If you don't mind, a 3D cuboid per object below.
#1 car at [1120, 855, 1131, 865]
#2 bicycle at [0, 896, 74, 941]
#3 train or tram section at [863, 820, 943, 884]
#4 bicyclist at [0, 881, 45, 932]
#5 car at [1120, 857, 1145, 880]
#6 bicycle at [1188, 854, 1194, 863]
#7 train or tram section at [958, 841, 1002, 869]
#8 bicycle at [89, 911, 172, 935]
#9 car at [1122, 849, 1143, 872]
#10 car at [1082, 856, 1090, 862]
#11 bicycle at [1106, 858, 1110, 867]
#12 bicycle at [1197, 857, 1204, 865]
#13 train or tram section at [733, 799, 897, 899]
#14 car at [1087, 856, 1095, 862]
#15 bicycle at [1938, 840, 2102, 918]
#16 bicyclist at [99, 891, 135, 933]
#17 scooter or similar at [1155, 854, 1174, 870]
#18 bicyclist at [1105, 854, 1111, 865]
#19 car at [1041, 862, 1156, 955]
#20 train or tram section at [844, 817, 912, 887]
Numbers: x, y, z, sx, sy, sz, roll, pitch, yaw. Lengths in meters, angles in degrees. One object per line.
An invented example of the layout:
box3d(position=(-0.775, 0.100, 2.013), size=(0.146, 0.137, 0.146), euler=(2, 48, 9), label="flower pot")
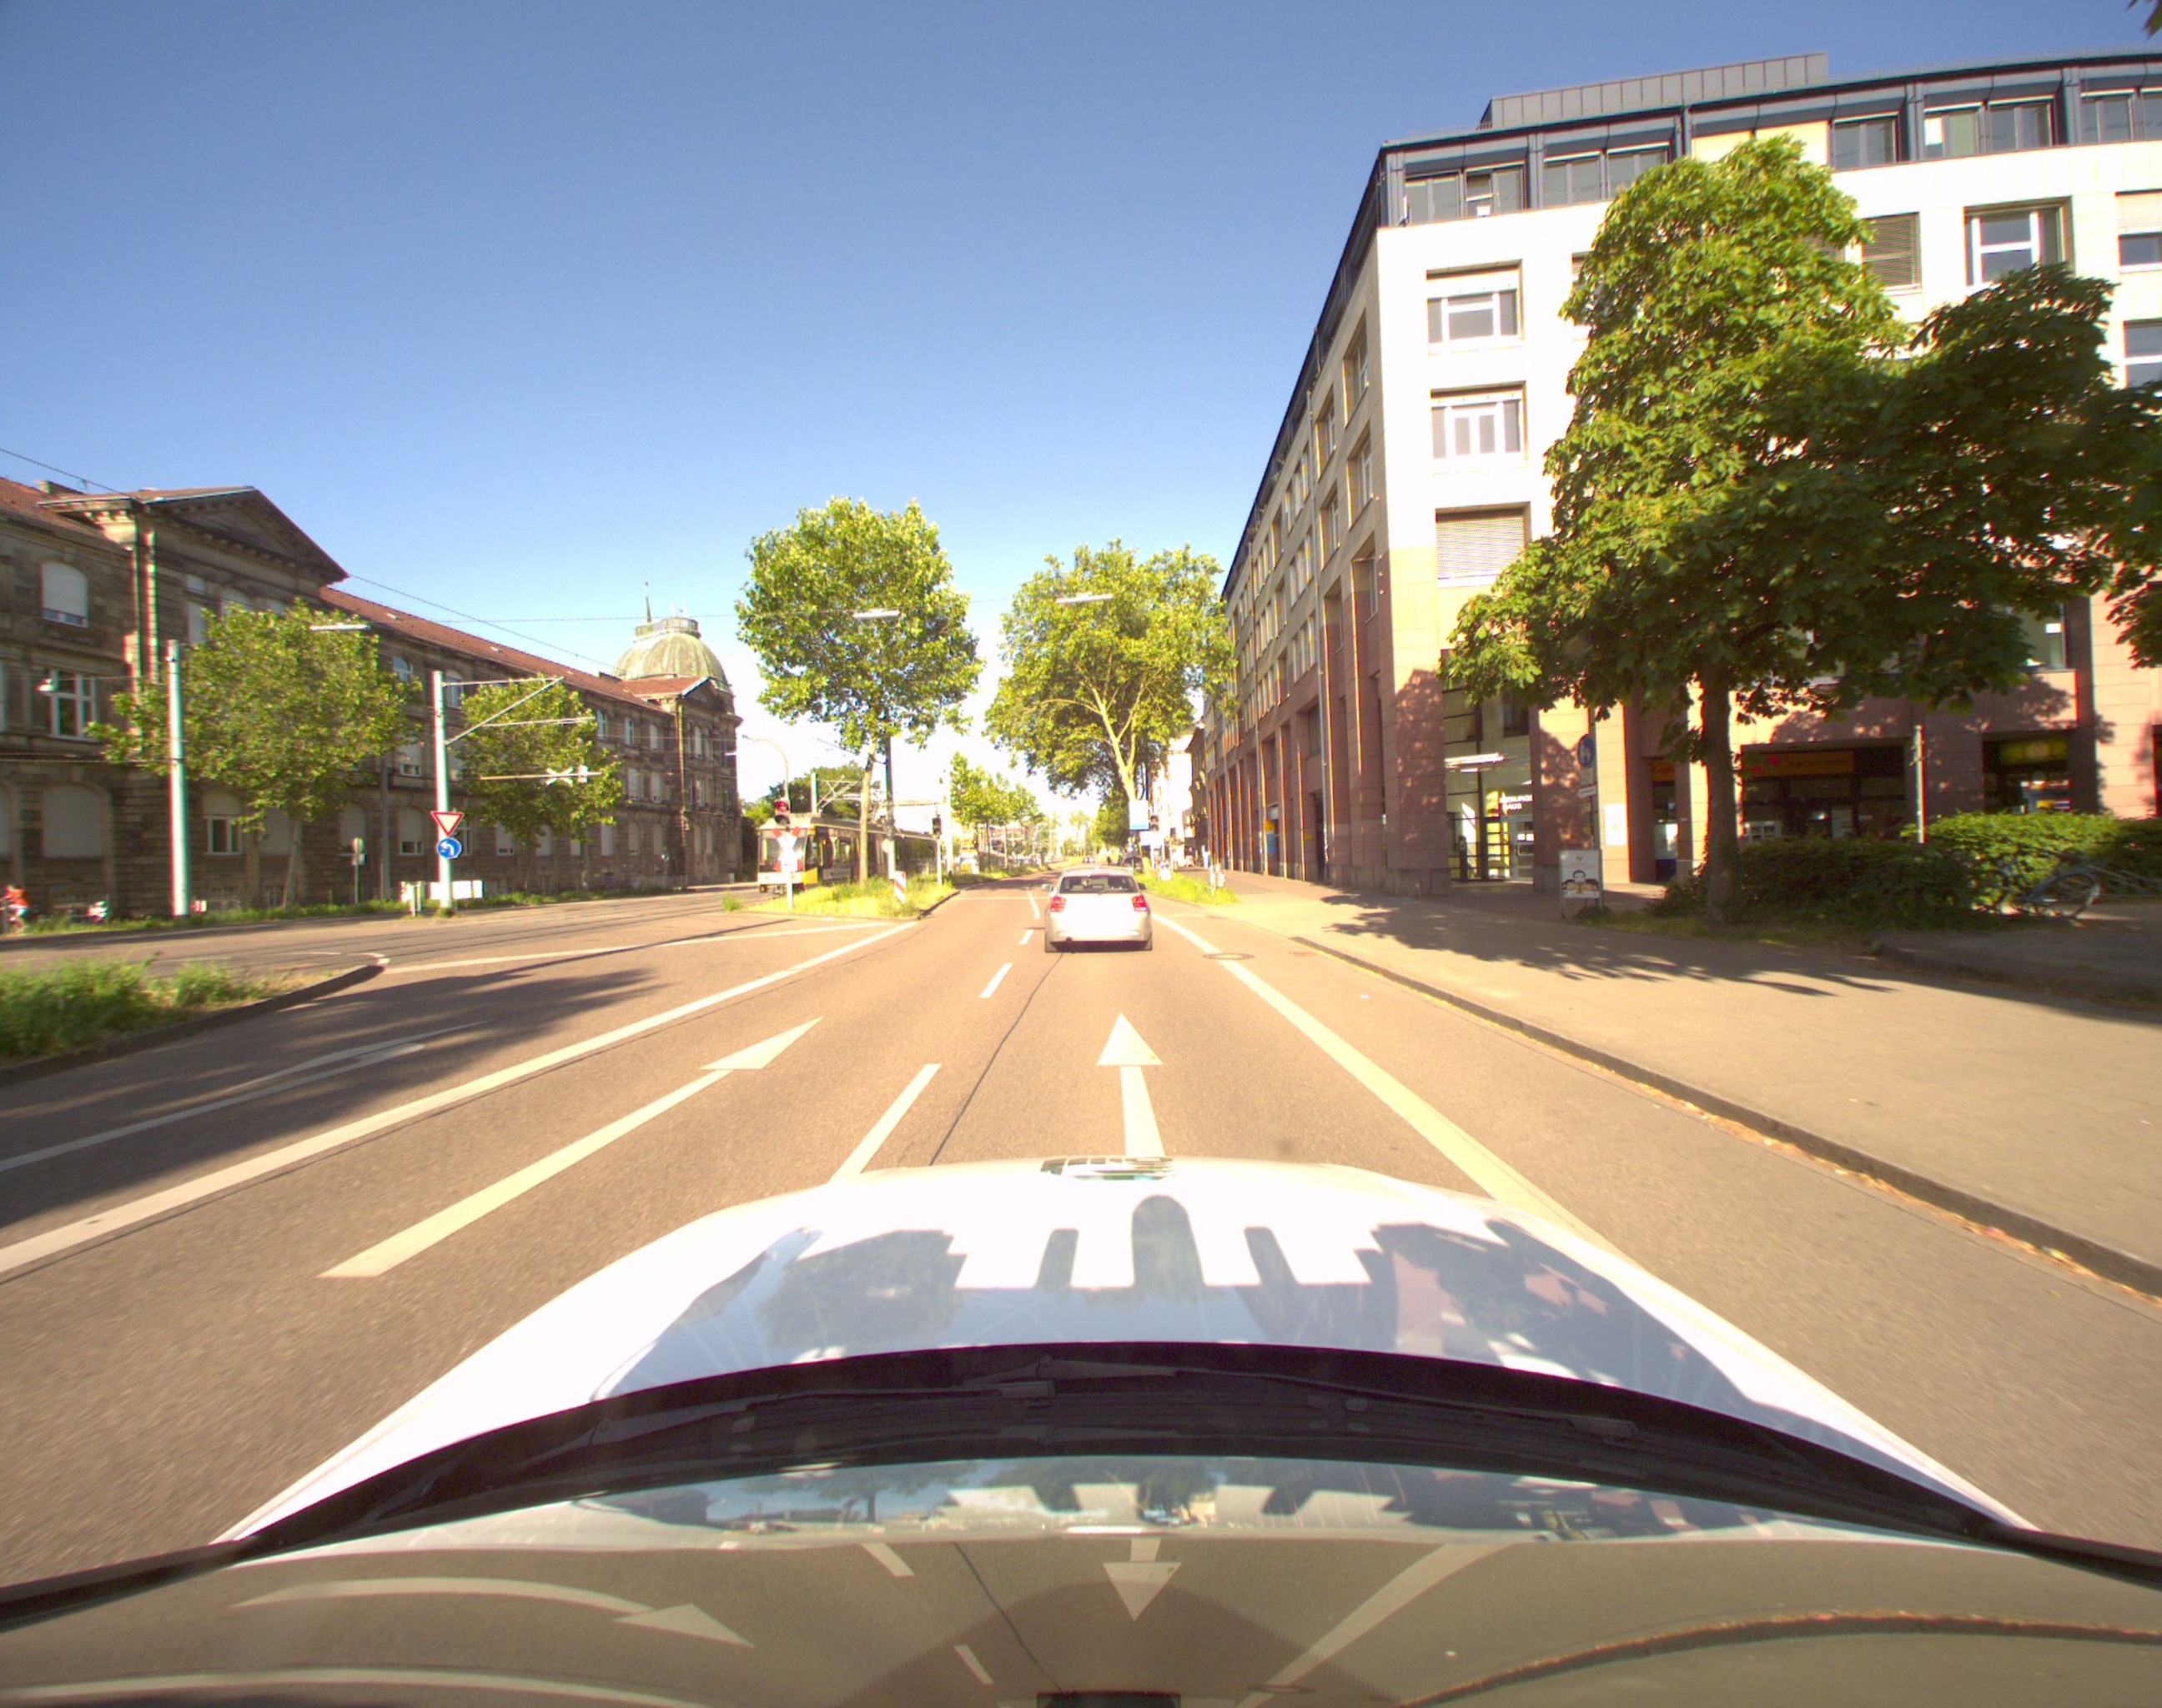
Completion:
box3d(position=(7.199, 1.011, 133.111), size=(1.688, 1.502, 3.803), euler=(-4, 0, 2), label="car")
box3d(position=(-35.169, 2.124, 26.955), size=(0.522, 1.389, 2.355), euler=(0, 0, 7), label="bicycle")
box3d(position=(-11.653, -0.088, 54.641), size=(2.943, 3.897, 10.801), euler=(0, 0, 0), label="train or tram section")
box3d(position=(-35.161, 1.740, 26.927), size=(0.670, 1.624, 0.873), euler=(-1, 0, 6), label="bicyclist")
box3d(position=(3.664, 1.013, 57.733), size=(1.661, 1.570, 4.284), euler=(0, 0, 4), label="car")
box3d(position=(12.200, 0.529, 90.244), size=(0.413, 0.997, 1.883), euler=(-1, 0, 2), label="bicycle")
box3d(position=(-13.623, 0.078, 112.210), size=(2.953, 3.483, 21.220), euler=(-1, 0, 1), label="train or tram section")
box3d(position=(-34.831, 2.509, 29.864), size=(0.519, 0.722, 1.913), euler=(0, 0, 30), label="bicycle")
box3d(position=(4.642, 0.601, 74.345), size=(1.849, 2.014, 4.726), euler=(0, 0, 2), label="car")
box3d(position=(1.183, 1.196, 189.159), size=(1.721, 1.470, 4.410), euler=(-1, 0, 0), label="car")
box3d(position=(3.601, 1.136, 108.838), size=(0.497, 1.088, 1.998), euler=(0, 0, 2), label="bicycle")
box3d(position=(12.141, 0.758, 82.797), size=(0.546, 0.773, 1.664), euler=(-4, 0, 2), label="bicycle")
box3d(position=(-11.765, -0.170, 38.218), size=(2.919, 3.812, 14.272), euler=(0, 0, 0), label="train or tram section")
box3d(position=(2.415, 1.203, 197.200), size=(1.638, 1.421, 4.002), euler=(-1, 0, 3), label="car")
box3d(position=(13.165, 0.329, 11.516), size=(0.415, 0.997, 2.232), euler=(-2, -1, 19), label="bicycle")
box3d(position=(-35.027, 2.085, 29.590), size=(0.787, 1.462, 0.735), euler=(0, -1, 33), label="bicyclist")
box3d(position=(6.812, 0.639, 66.260), size=(1.534, 1.237, 0.449), euler=(0, -1, 3), label="scooter or similar")
box3d(position=(3.605, 0.756, 108.977), size=(0.782, 1.531, 0.895), euler=(0, -1, 2), label="bicyclist")
box3d(position=(0.325, 0.870, 14.703), size=(1.791, 1.415, 4.001), euler=(0, 0, 1), label="car")
box3d(position=(-11.725, -0.126, 47.289), size=(2.945, 3.897, 3.865), euler=(0, 0, 0), label="train or tram section")
